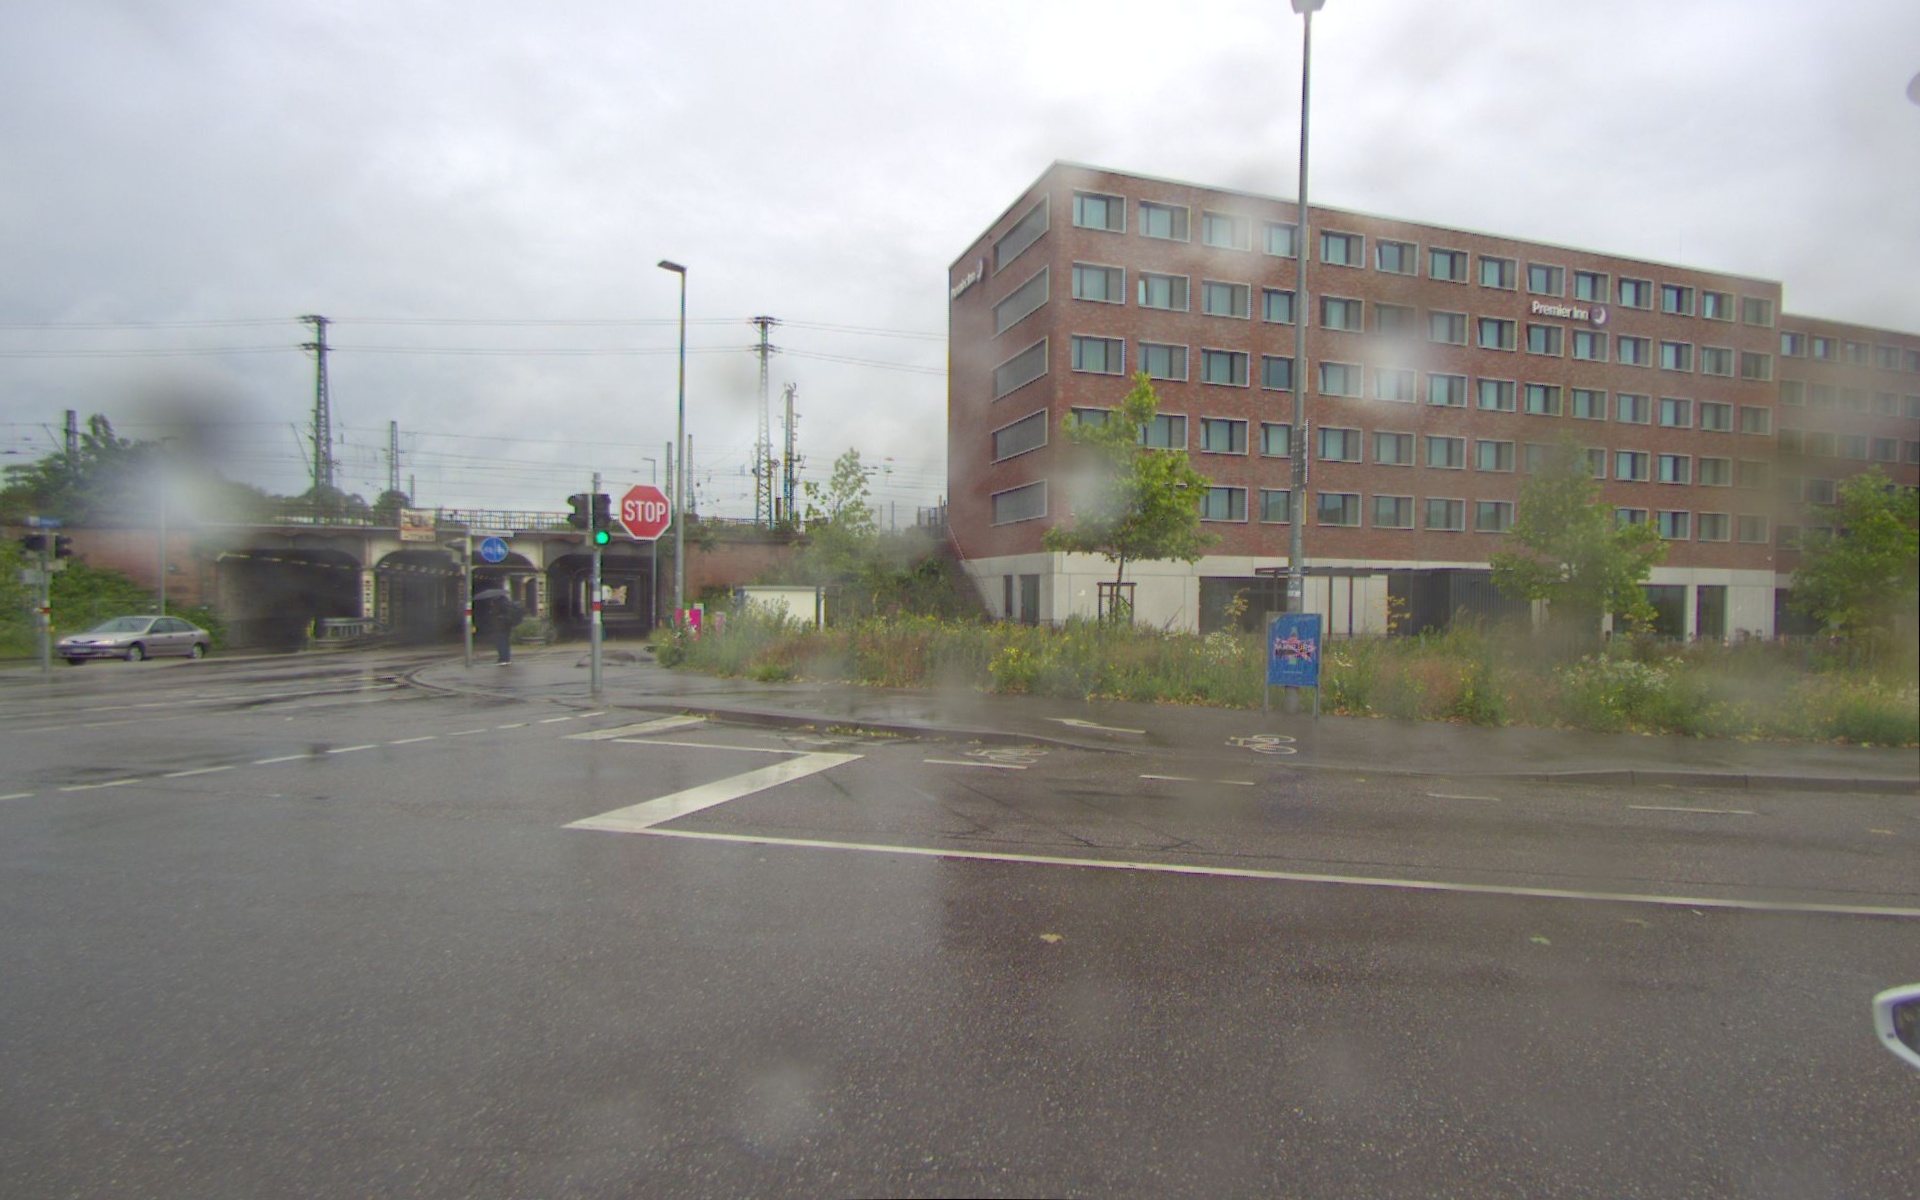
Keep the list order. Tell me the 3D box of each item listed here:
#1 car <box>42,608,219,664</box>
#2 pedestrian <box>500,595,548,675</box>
[{"bbox_3d":[-24.357,1.045,29.738,1.699,1.505,4.429,2,-1,-4],"label":"car"},{"bbox_3d":[-10.796,0.849,24.901,0.905,1.934,1.321,1,0,-17],"label":"pedestrian"}]
